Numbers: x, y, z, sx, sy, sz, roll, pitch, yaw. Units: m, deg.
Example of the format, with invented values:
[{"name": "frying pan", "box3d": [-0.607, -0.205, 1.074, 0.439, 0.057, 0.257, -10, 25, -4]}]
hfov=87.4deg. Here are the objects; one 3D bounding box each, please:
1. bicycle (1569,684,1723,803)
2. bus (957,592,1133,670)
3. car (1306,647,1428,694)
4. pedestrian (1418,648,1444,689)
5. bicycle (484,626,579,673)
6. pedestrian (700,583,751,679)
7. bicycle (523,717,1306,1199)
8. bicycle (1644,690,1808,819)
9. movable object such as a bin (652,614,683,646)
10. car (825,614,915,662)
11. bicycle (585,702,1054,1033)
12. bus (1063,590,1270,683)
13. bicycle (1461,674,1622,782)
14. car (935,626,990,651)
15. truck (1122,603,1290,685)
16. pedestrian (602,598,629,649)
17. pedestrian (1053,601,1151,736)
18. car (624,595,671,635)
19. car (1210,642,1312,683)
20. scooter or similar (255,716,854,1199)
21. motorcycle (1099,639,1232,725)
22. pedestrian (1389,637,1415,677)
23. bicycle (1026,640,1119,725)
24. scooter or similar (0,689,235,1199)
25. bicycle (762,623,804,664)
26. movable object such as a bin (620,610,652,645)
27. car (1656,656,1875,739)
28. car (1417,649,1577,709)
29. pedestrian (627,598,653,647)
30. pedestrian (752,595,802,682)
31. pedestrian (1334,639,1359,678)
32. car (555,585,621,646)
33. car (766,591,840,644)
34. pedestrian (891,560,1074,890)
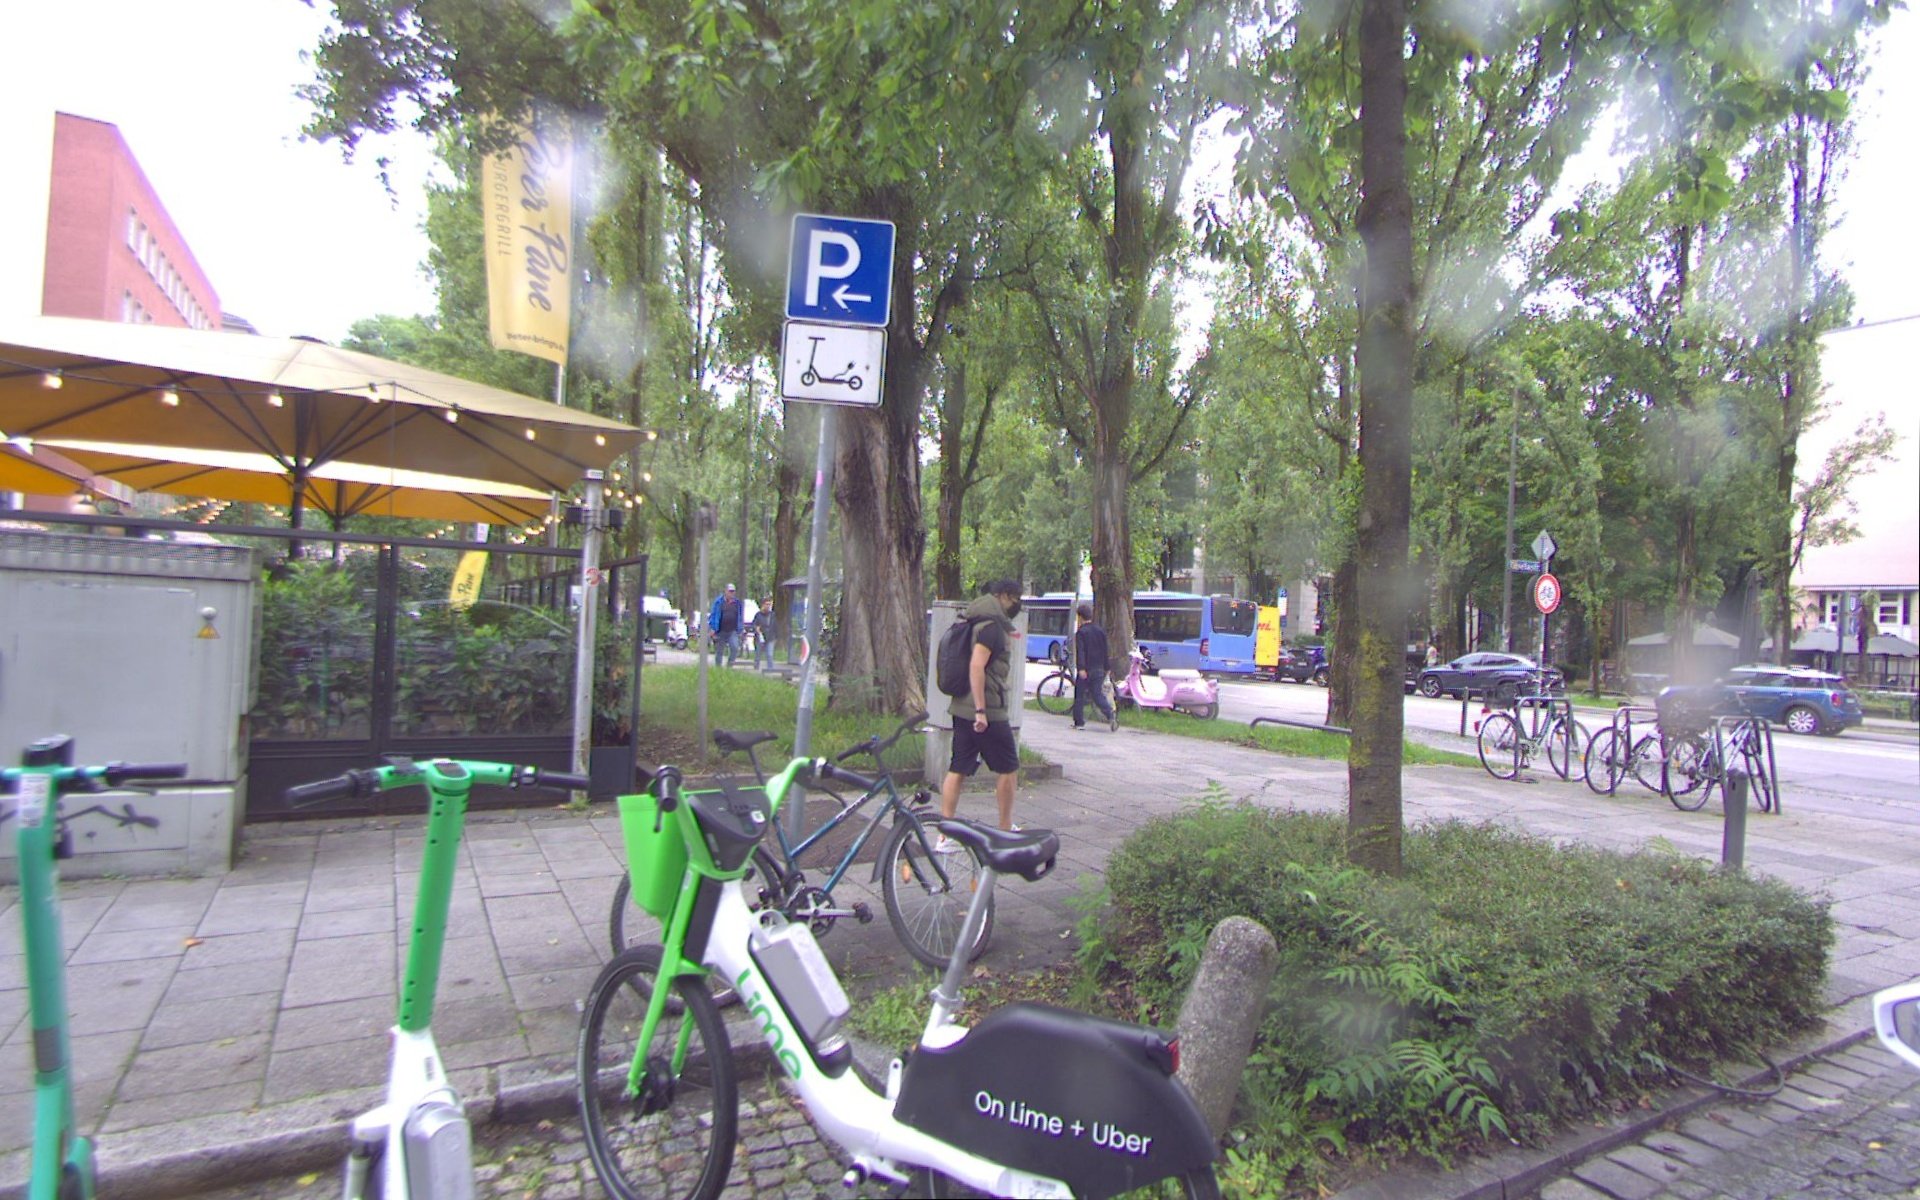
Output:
[{"name": "bicycle", "box3d": [6.994, 1.446, 10.229, 1.680, 1.107, 0.488, 3, -1, -25]}, {"name": "bus", "box3d": [3.548, 1.324, 45.475, 2.892, 3.092, 9.720, 3, -2, -29]}, {"name": "car", "box3d": [14.772, 2.527, 36.609, 1.772, 1.430, 3.851, 3, -1, -29]}, {"name": "pedestrian", "box3d": [20.843, 3.039, 44.443, 0.700, 1.736, 0.726, 3, -1, -28]}, {"name": "bicycle", "box3d": [-9.238, 1.069, 21.683, 1.782, 0.924, 0.615, 4, -1, -32]}, {"name": "pedestrian", "box3d": [-4.852, 0.647, 20.813, 0.635, 1.933, 0.701, 2, -2, 37]}, {"name": "bicycle", "box3d": [-0.174, 0.943, 2.317, 1.731, 1.158, 0.553, 2, -1, 30]}, {"name": "bicycle", "box3d": [7.230, 1.435, 9.467, 1.680, 1.107, 0.488, 3, -1, -25]}, {"name": "movable object such as a bin", "box3d": [-12.985, 1.321, 44.566, 1.052, 1.329, 0.975, 4, -2, -32]}, {"name": "car", "box3d": [-3.482, 1.396, 38.165, 1.988, 1.601, 3.971, 4, -2, -28]}, {"name": "bicycle", "box3d": [-0.505, 0.951, 4.002, 1.743, 1.035, 0.549, 4, -1, -32]}, {"name": "bus", "box3d": [7.530, 1.320, 38.166, 2.891, 3.092, 8.454, 3, -2, -28]}, {"name": "bicycle", "box3d": [6.480, 1.414, 11.161, 1.957, 1.107, 0.488, 4, -1, -25]}, {"name": "car", "box3d": [0.127, 2.416, 63.779, 1.772, 1.430, 3.852, 4, -2, -29]}, {"name": "truck", "box3d": [9.830, 1.683, 40.977, 2.570, 2.946, 7.028, 4, -2, -28]}, {"name": "pedestrian", "box3d": [-11.955, 0.805, 34.823, 0.726, 1.715, 0.643, 3, -1, -26]}, {"name": "pedestrian", "box3d": [1.911, 0.907, 13.581, 0.849, 1.734, 0.951, 3, -2, -31]}, {"name": "car", "box3d": [-22.689, 1.060, 72.694, 1.988, 2.666, 5.954, 4, -2, -29]}, {"name": "car", "box3d": [12.300, 2.556, 41.216, 1.772, 1.430, 3.852, 3, -2, -29]}, {"name": "scooter or similar", "box3d": [-0.876, 0.882, 1.967, 1.407, 1.159, 0.368, 2, -1, 37]}, {"name": "motorcycle", "box3d": [3.211, 1.259, 15.715, 1.951, 1.211, 0.630, 2, -2, 17]}, {"name": "pedestrian", "box3d": [19.724, 2.535, 44.823, 0.700, 1.736, 0.726, 3, -1, -28]}, {"name": "bicycle", "box3d": [1.740, 1.259, 15.720, 0.576, 1.204, 1.603, 3, -2, -29]}, {"name": "scooter or similar", "box3d": [-1.847, 0.817, 2.104, 0.323, 1.159, 1.241, 3, -1, -29]}, {"name": "bicycle", "box3d": [-5.699, 1.385, 32.169, 0.577, 1.204, 2.124, 3, -2, -30]}, {"name": "movable object such as a bin", "box3d": [-13.907, 1.180, 43.106, 1.052, 1.423, 0.975, 4, -2, -32]}, {"name": "car", "box3d": [20.748, 2.472, 26.052, 1.773, 1.754, 4.045, 5, -2, -30]}, {"name": "car", "box3d": [17.074, 2.486, 32.141, 1.772, 1.621, 4.205, 4, -2, -29]}, {"name": "pedestrian", "box3d": [-11.489, 0.816, 36.050, 0.726, 1.715, 0.643, 3, -1, -26]}, {"name": "pedestrian", "box3d": [-3.789, 0.792, 20.772, 0.635, 1.750, 0.701, 2, -2, 37]}, {"name": "pedestrian", "box3d": [17.765, 2.702, 46.127, 0.700, 1.736, 0.726, 3, -1, -28]}, {"name": "car", "box3d": [-20.397, 0.810, 54.866, 2.175, 3.056, 5.950, 4, -2, -31]}, {"name": "car", "box3d": [-8.634, 0.943, 54.684, 2.022, 2.687, 5.995, 2, -1, -29]}, {"name": "pedestrian", "box3d": [0.121, 0.686, 5.961, 0.697, 1.796, 0.746, 3, 1, -30]}]
